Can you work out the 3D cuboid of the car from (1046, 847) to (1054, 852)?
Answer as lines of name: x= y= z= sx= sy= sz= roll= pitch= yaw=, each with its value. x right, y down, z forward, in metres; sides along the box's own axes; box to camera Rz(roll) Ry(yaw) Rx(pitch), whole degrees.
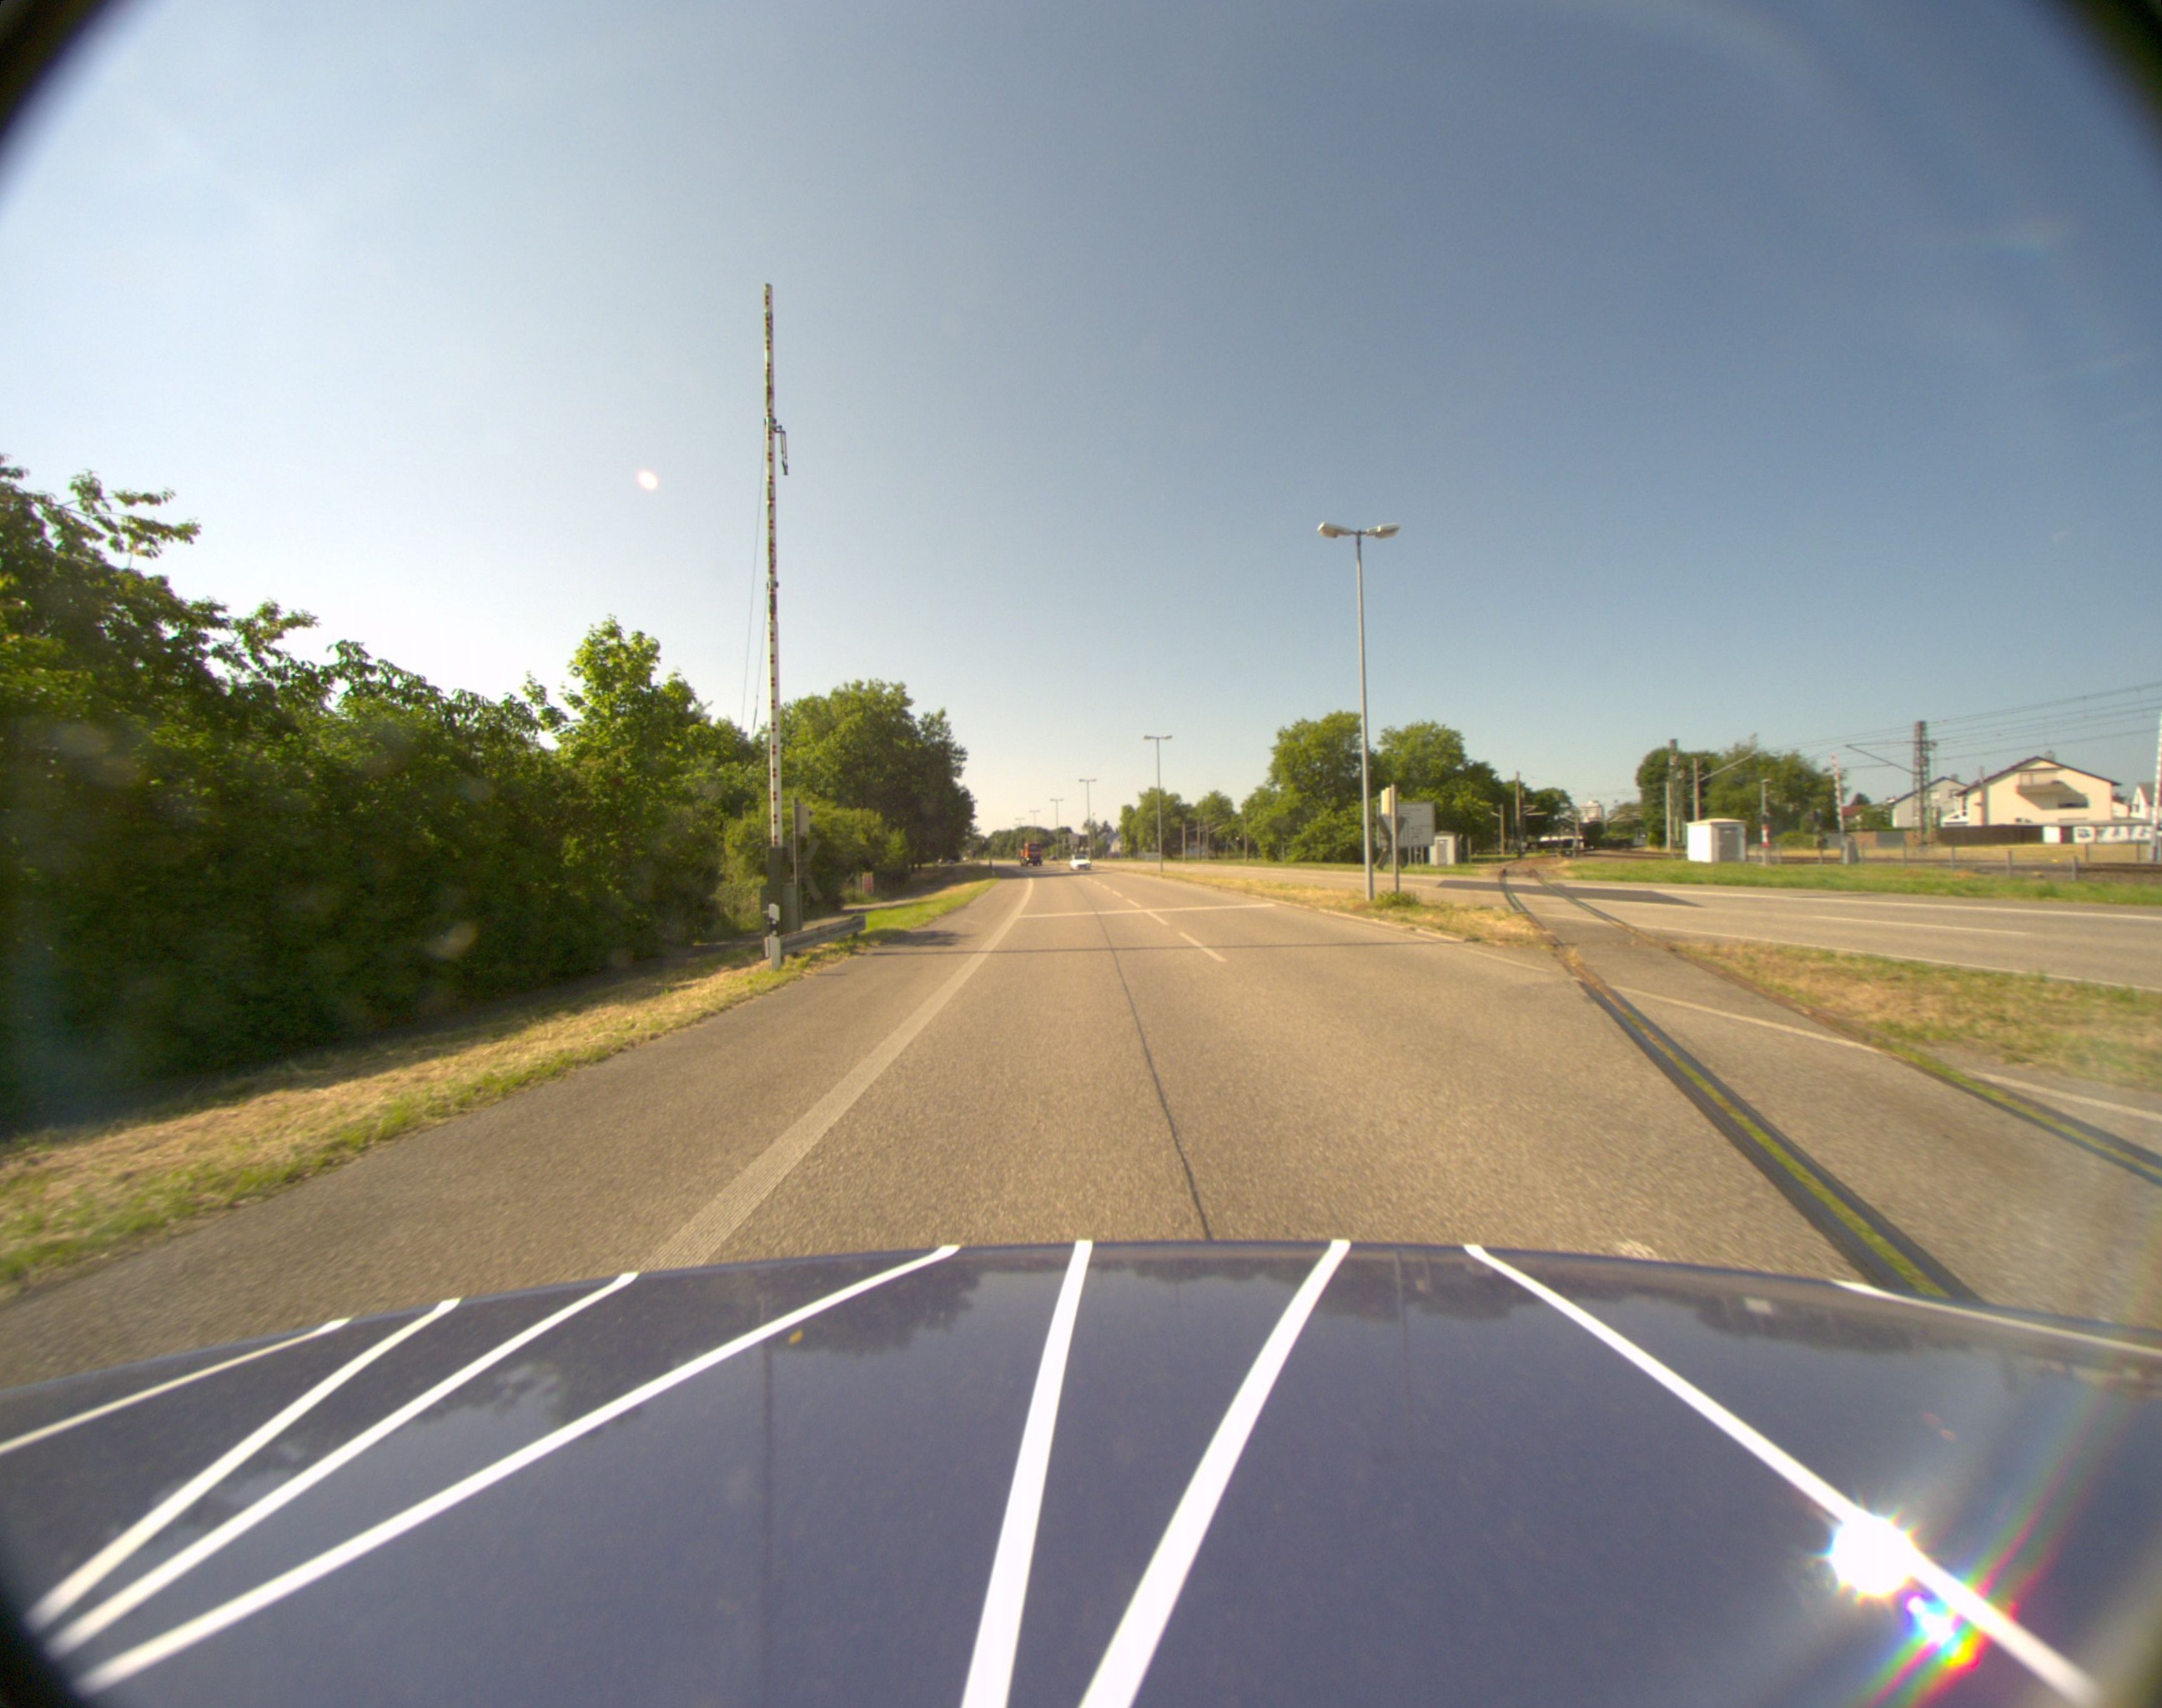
car: x=-9.363 y=-1.472 z=230.735 sx=1.869 sy=1.536 sz=4.402 roll=0 pitch=0 yaw=-10

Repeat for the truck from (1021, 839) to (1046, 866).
truck: x=-7.211 y=-0.194 z=114.146 sx=2.943 sy=3.852 sz=6.585 roll=-1 pitch=0 yaw=-10

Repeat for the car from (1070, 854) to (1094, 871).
car: x=0.075 y=0.788 z=73.459 sx=1.870 sy=1.499 sz=4.334 roll=-1 pitch=0 yaw=-6

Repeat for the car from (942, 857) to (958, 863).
car: x=-33.107 y=1.534 z=191.780 sx=4.065 sy=1.555 sz=1.741 roll=-2 pitch=1 yaw=-11

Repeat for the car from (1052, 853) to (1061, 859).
car: x=-6.294 y=0.597 z=193.881 sx=1.837 sy=1.457 sz=4.466 roll=-2 pitch=0 yaw=-8
